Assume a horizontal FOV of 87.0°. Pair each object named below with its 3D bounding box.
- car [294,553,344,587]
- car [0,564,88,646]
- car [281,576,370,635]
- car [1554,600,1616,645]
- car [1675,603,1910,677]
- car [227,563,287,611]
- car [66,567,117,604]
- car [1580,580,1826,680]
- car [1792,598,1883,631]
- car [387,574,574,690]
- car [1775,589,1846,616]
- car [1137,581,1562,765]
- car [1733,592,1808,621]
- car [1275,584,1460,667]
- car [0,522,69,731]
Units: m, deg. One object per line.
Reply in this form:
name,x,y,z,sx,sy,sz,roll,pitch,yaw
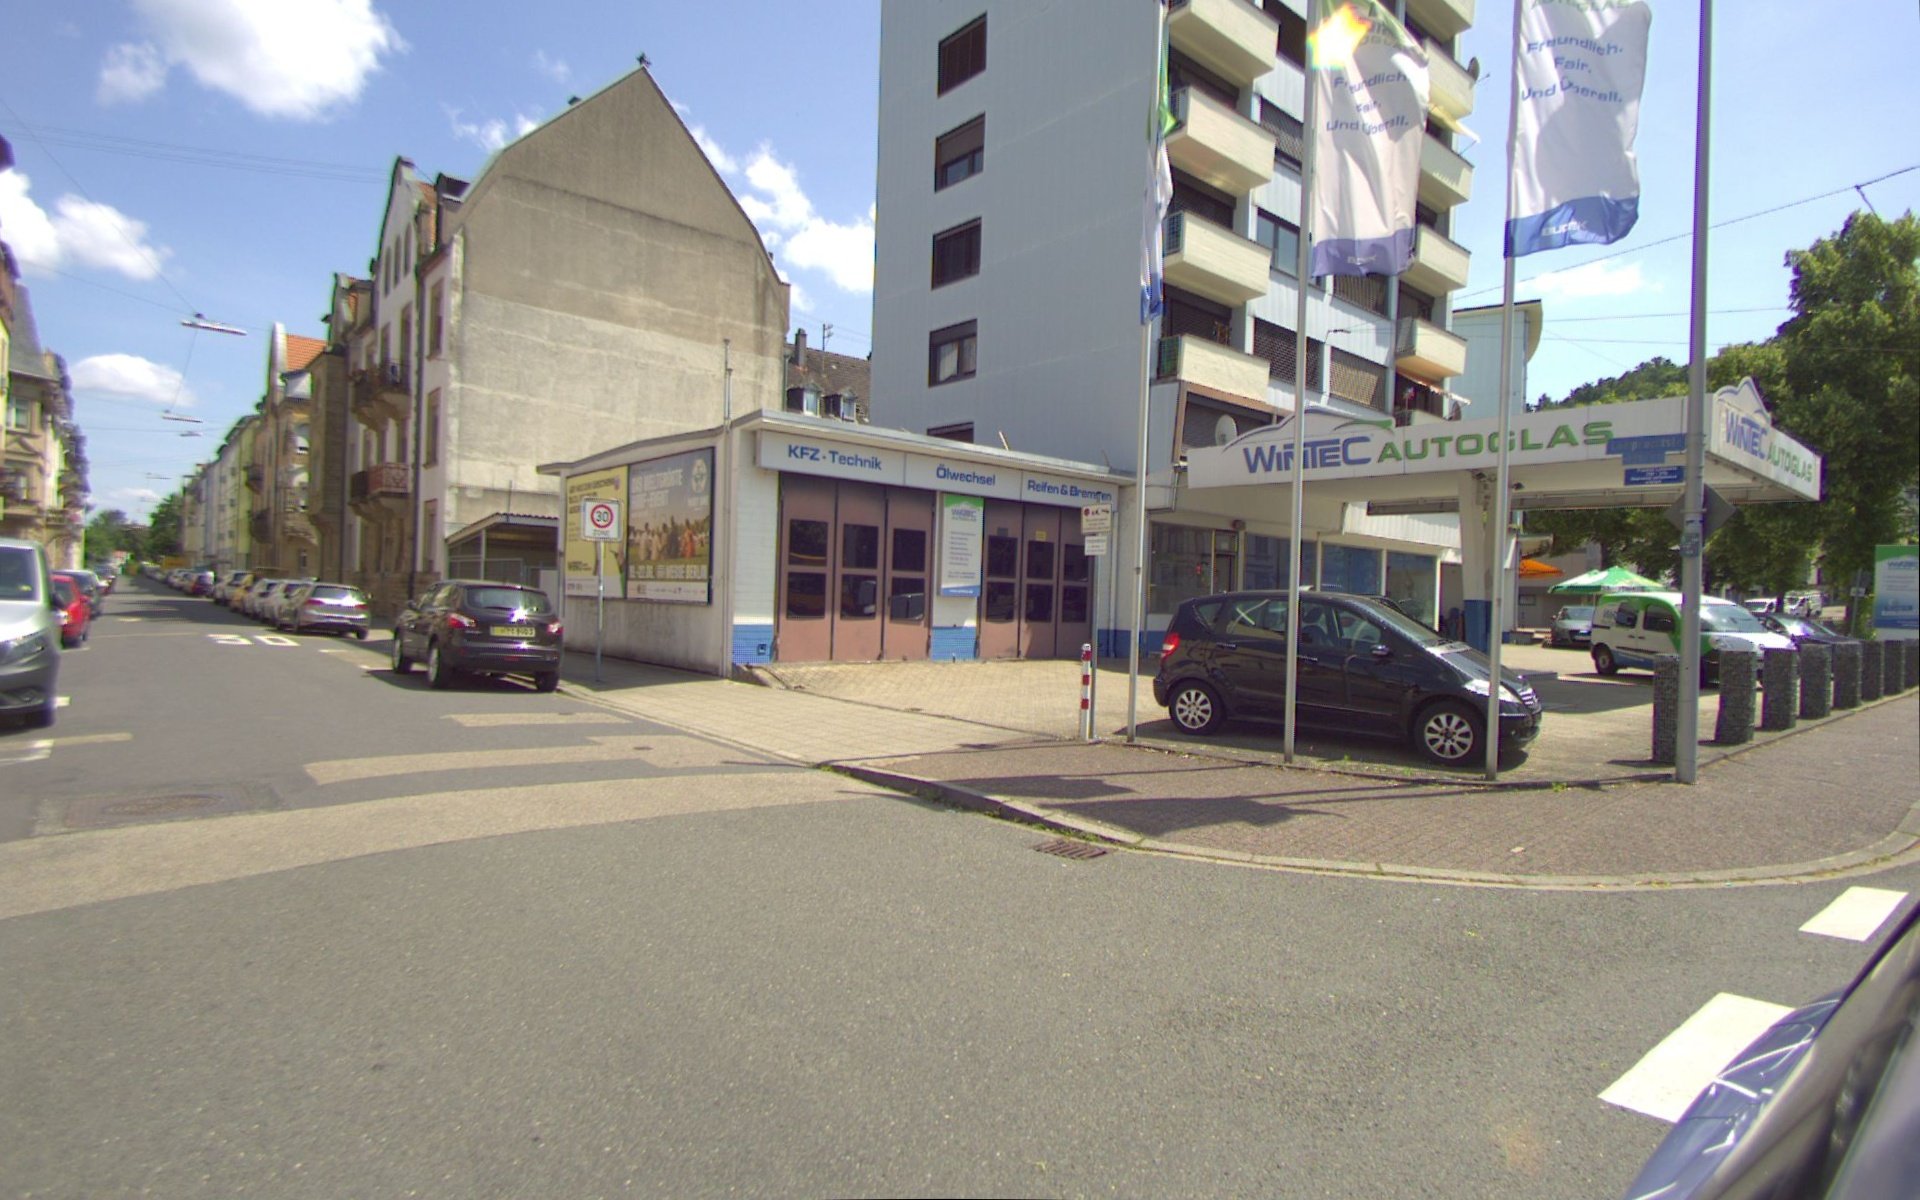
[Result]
car,-31.435,-1.439,49.579,1.621,1.527,3.994,0,-1,-40
car,-18.973,0.118,20.711,1.621,1.527,3.994,0,-1,-40
car,-17.773,0.155,28.287,1.621,1.527,3.994,0,-1,-40
car,21.079,0.713,34.237,1.699,1.417,4.237,0,0,31
car,19.392,0.876,23.805,1.664,1.446,3.982,1,1,-16
car,-27.344,-0.464,39.315,1.621,1.724,3.994,0,-1,-40
car,-38.812,-0.608,45.290,1.621,1.527,3.994,0,-1,-40
car,14.940,0.570,20.710,1.788,1.812,4.290,-1,0,-1
car,56.649,0.922,65.303,6.244,2.039,2.404,0,-1,-29
car,-7.641,0.446,15.936,1.808,1.562,3.887,5,-2,-37
car,65.194,0.199,77.559,5.272,2.039,2.404,0,-1,-29
car,4.036,0.608,10.750,3.868,1.562,1.817,2,1,38
car,59.521,0.490,74.311,5.272,2.039,2.404,0,-1,-29
car,8.983,0.524,22.131,4.620,1.647,1.750,1,0,-39
car,-10.709,0.178,10.650,1.876,1.885,5.060,0,1,-43
